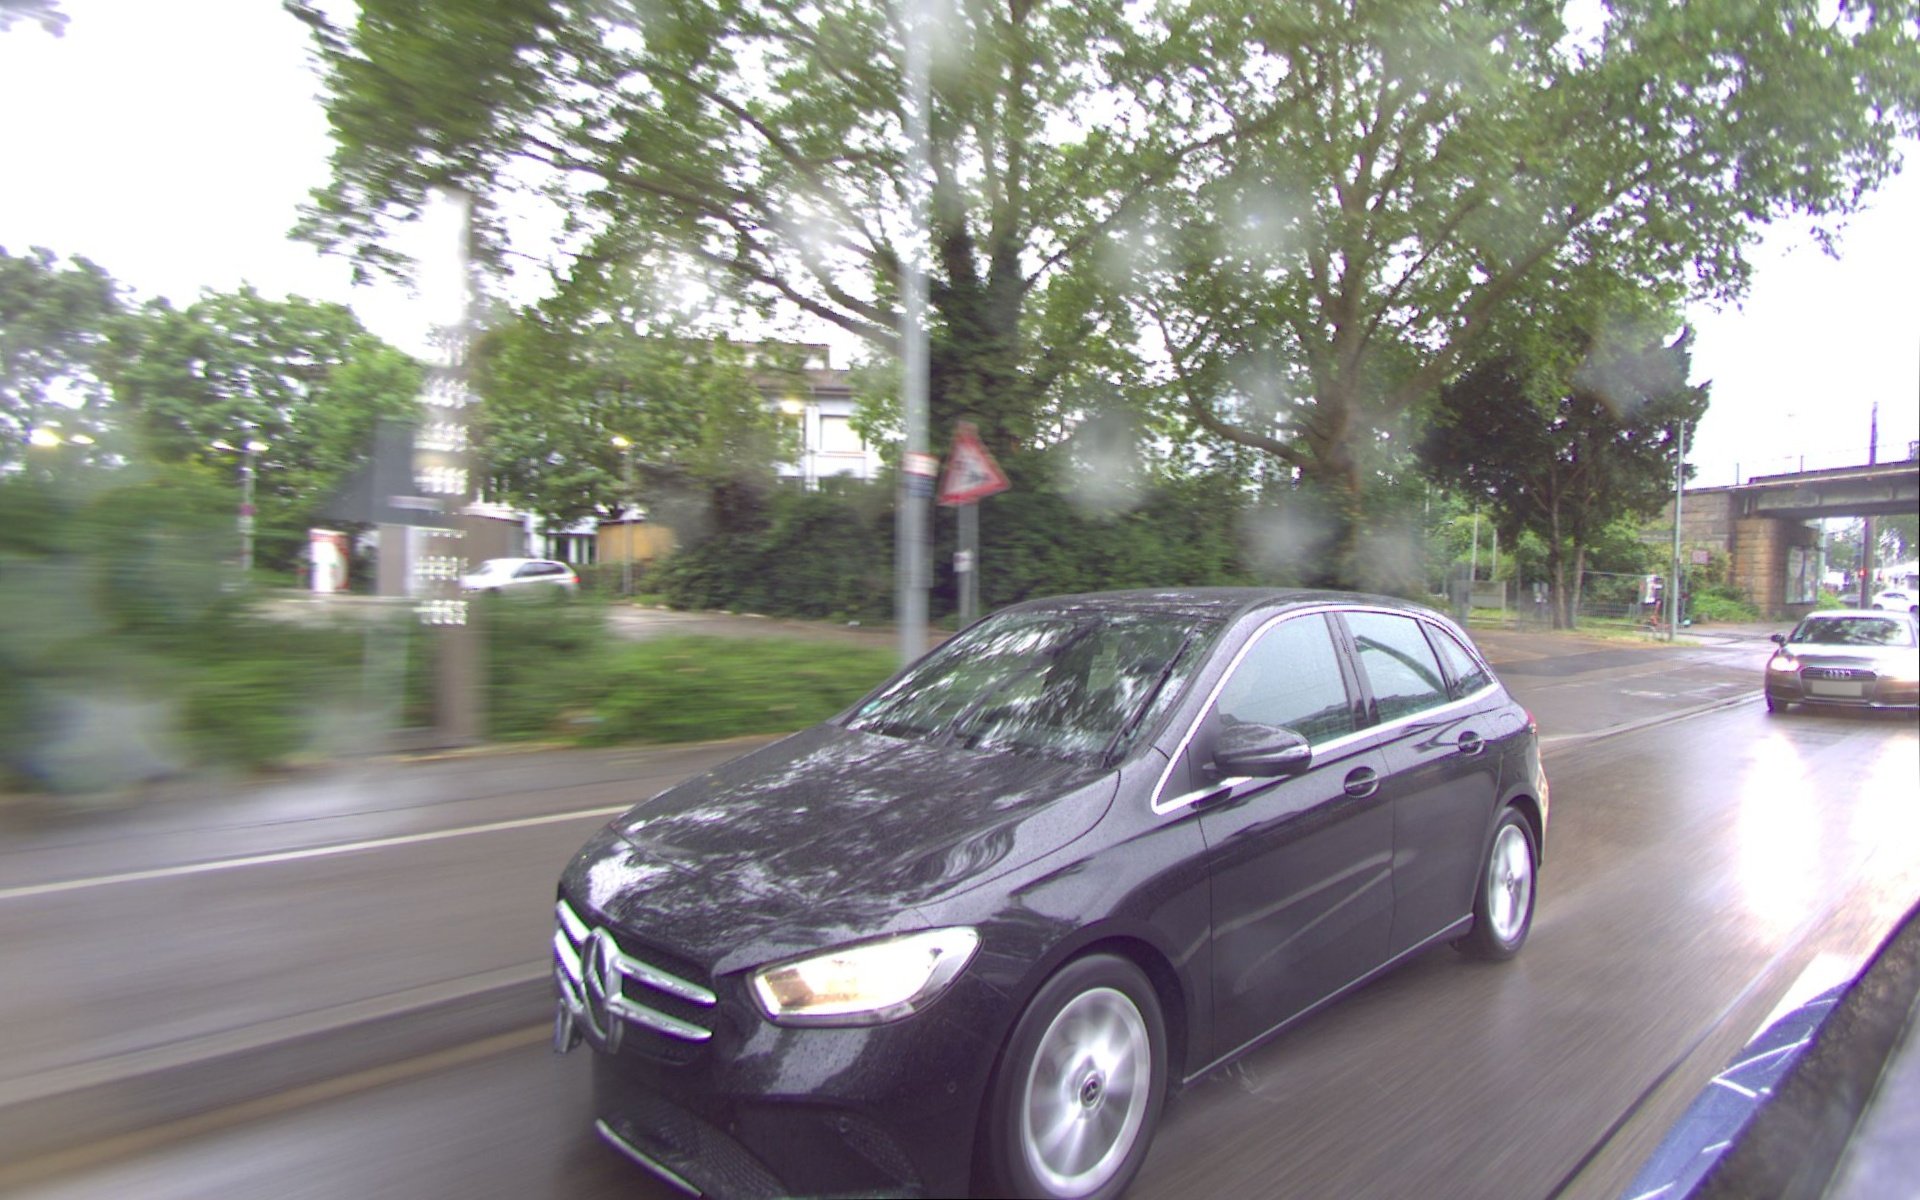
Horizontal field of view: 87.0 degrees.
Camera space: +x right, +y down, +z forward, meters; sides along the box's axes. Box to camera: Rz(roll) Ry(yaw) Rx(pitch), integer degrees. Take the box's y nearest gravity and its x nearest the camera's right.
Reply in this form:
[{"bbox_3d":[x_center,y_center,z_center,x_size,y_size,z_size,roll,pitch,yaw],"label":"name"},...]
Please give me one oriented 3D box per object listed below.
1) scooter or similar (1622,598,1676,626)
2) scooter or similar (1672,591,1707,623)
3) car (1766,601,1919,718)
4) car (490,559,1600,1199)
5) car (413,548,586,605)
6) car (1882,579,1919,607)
[{"bbox_3d":[25.497,0.447,37.444,1.705,1.022,0.454,0,0,-3],"label":"scooter or similar"},{"bbox_3d":[27.362,0.248,37.951,1.792,1.174,0.454,0,0,-34],"label":"scooter or similar"},{"bbox_3d":[12.903,0.737,14.267,3.713,1.402,1.641,-1,1,-39],"label":"car"},{"bbox_3d":[0.791,0.662,3.890,4.349,1.548,1.818,-3,3,-43],"label":"car"},{"bbox_3d":[-13.138,-0.675,29.209,1.974,1.506,4.605,0,1,18],"label":"car"},{"bbox_3d":[59.723,-0.436,62.346,1.837,1.720,4.422,2,1,3],"label":"car"}]
